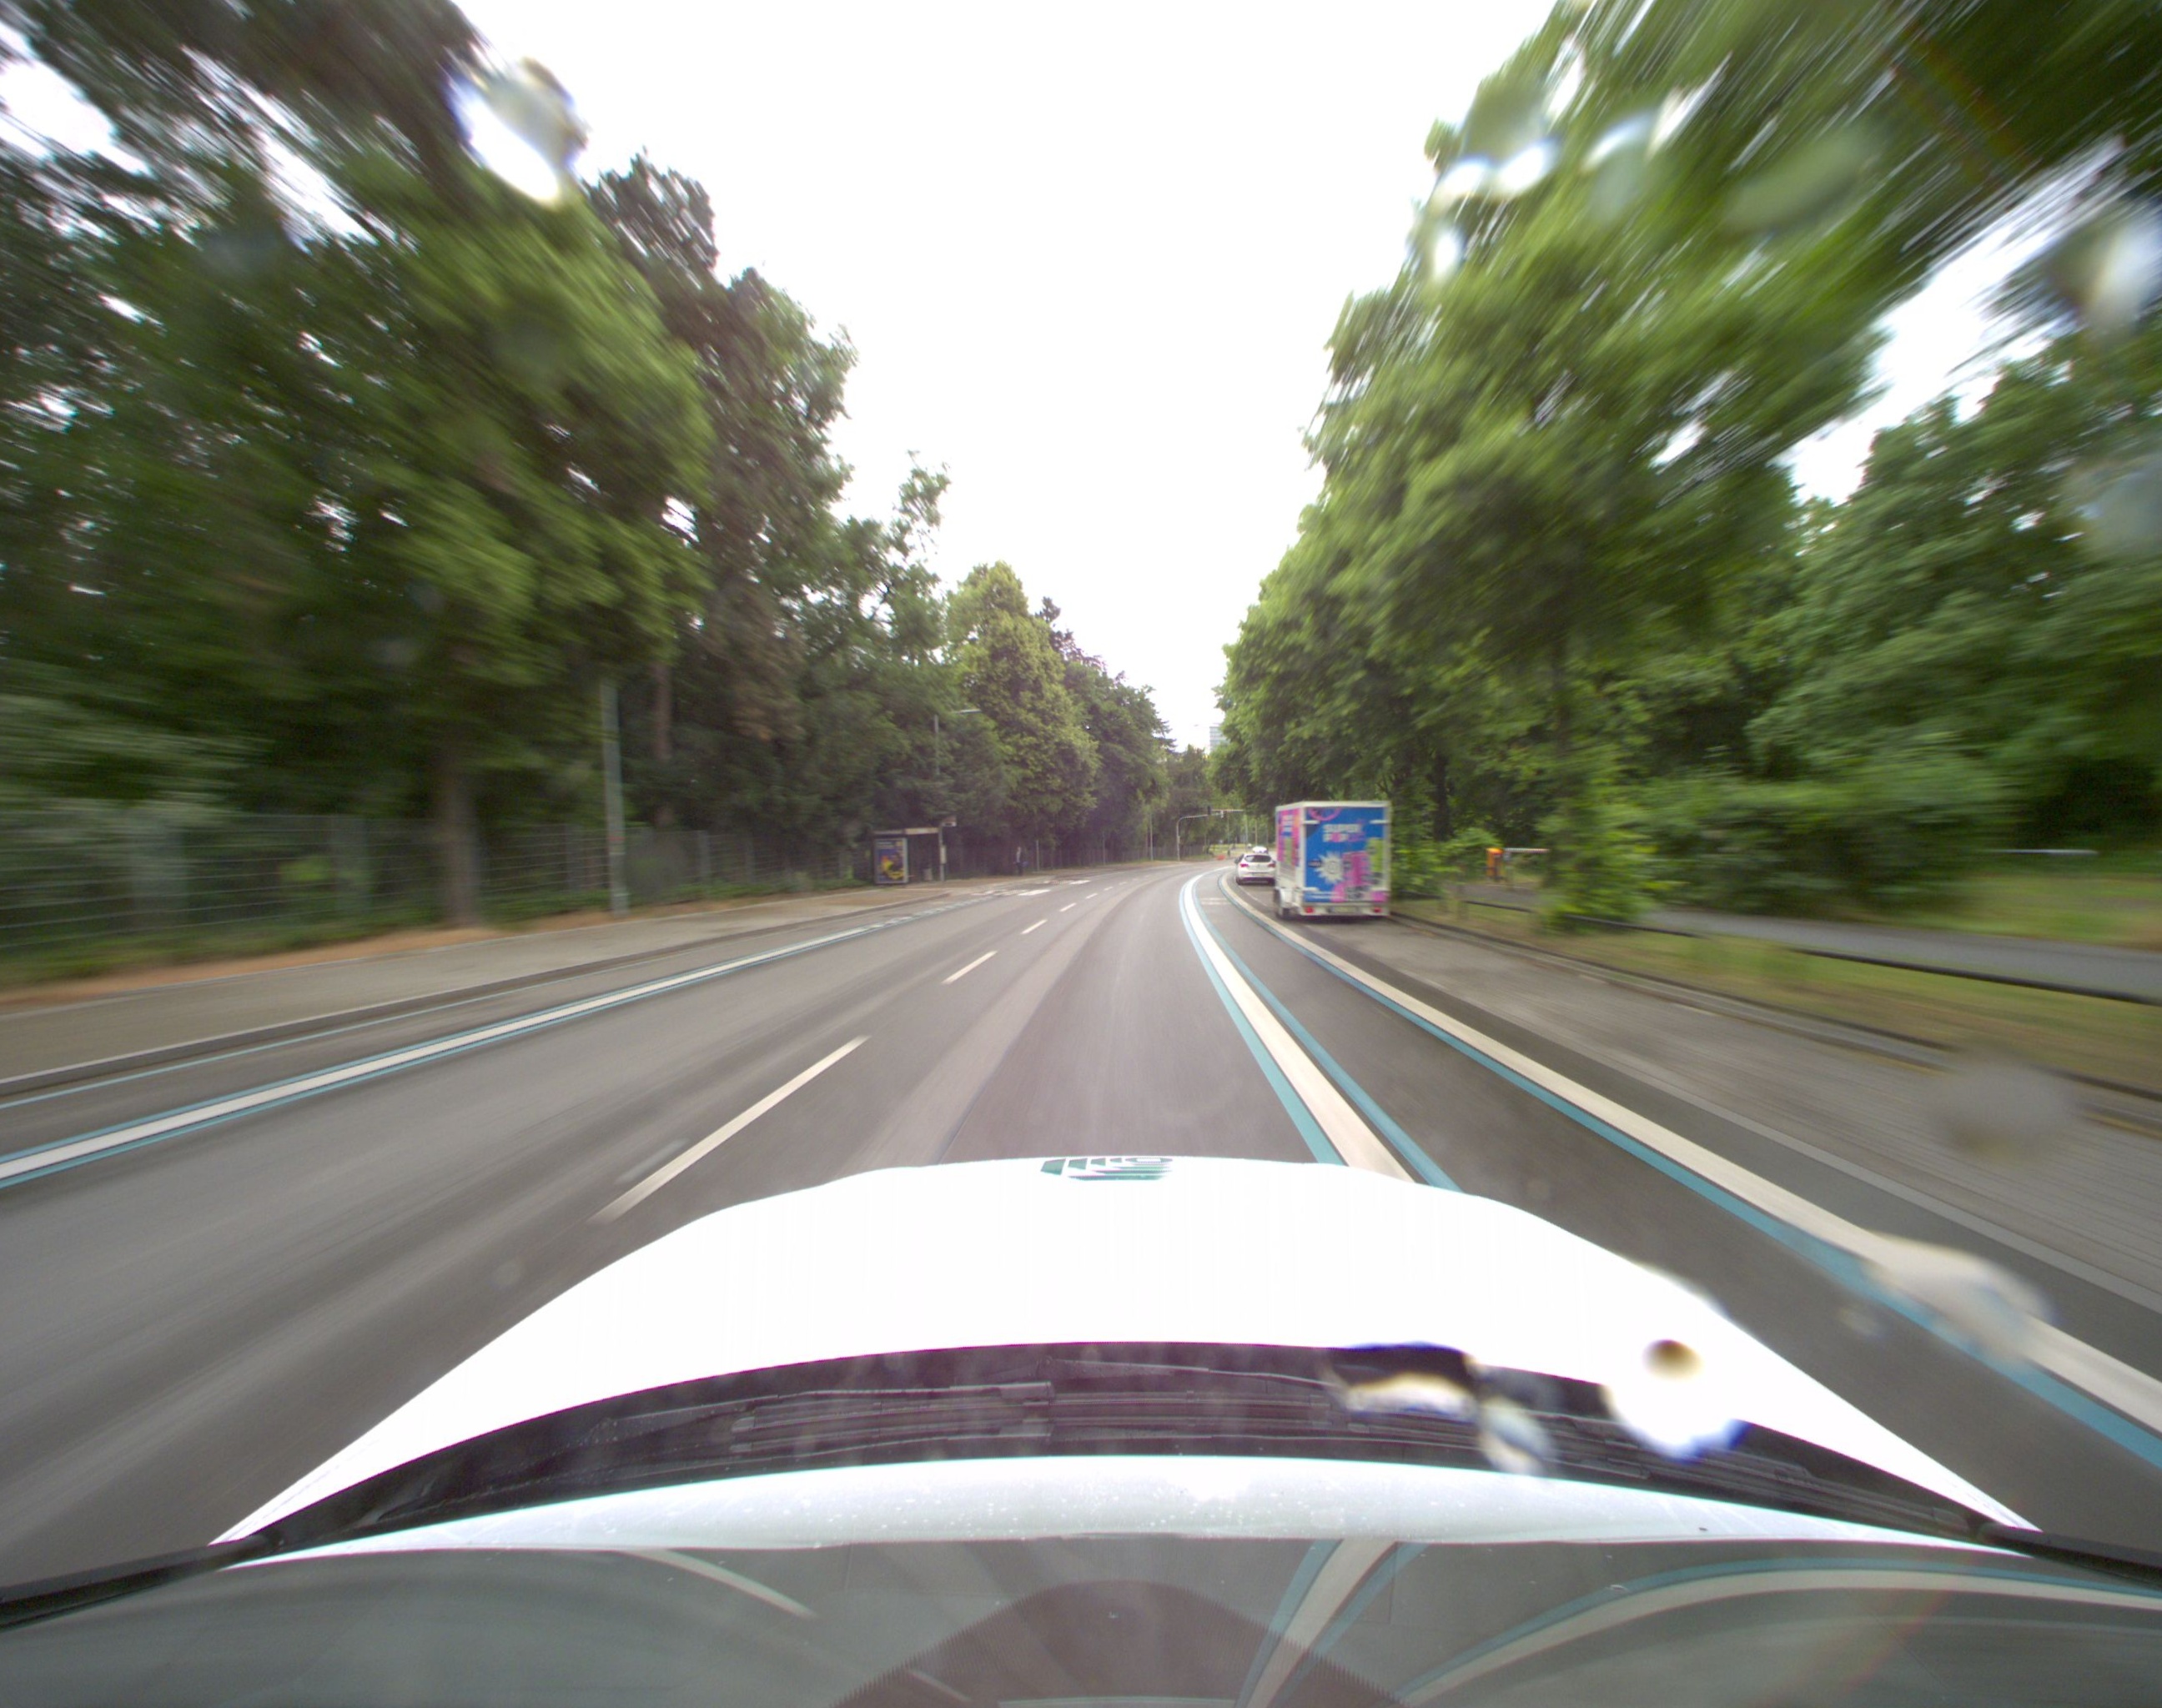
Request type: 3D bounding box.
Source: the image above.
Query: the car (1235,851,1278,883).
[{"bbox_3d":[8.302,0.559,38.738,1.848,1.428,4.663,0,0,10],"label":"car"}]

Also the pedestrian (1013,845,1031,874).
[{"bbox_3d":[-3.620,0.325,49.714,0.882,1.733,1.148,-1,0,5],"label":"pedestrian"}]

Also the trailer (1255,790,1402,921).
[{"bbox_3d":[5.657,0.034,19.449,2.305,2.672,5.384,-1,0,5],"label":"trailer"}]
